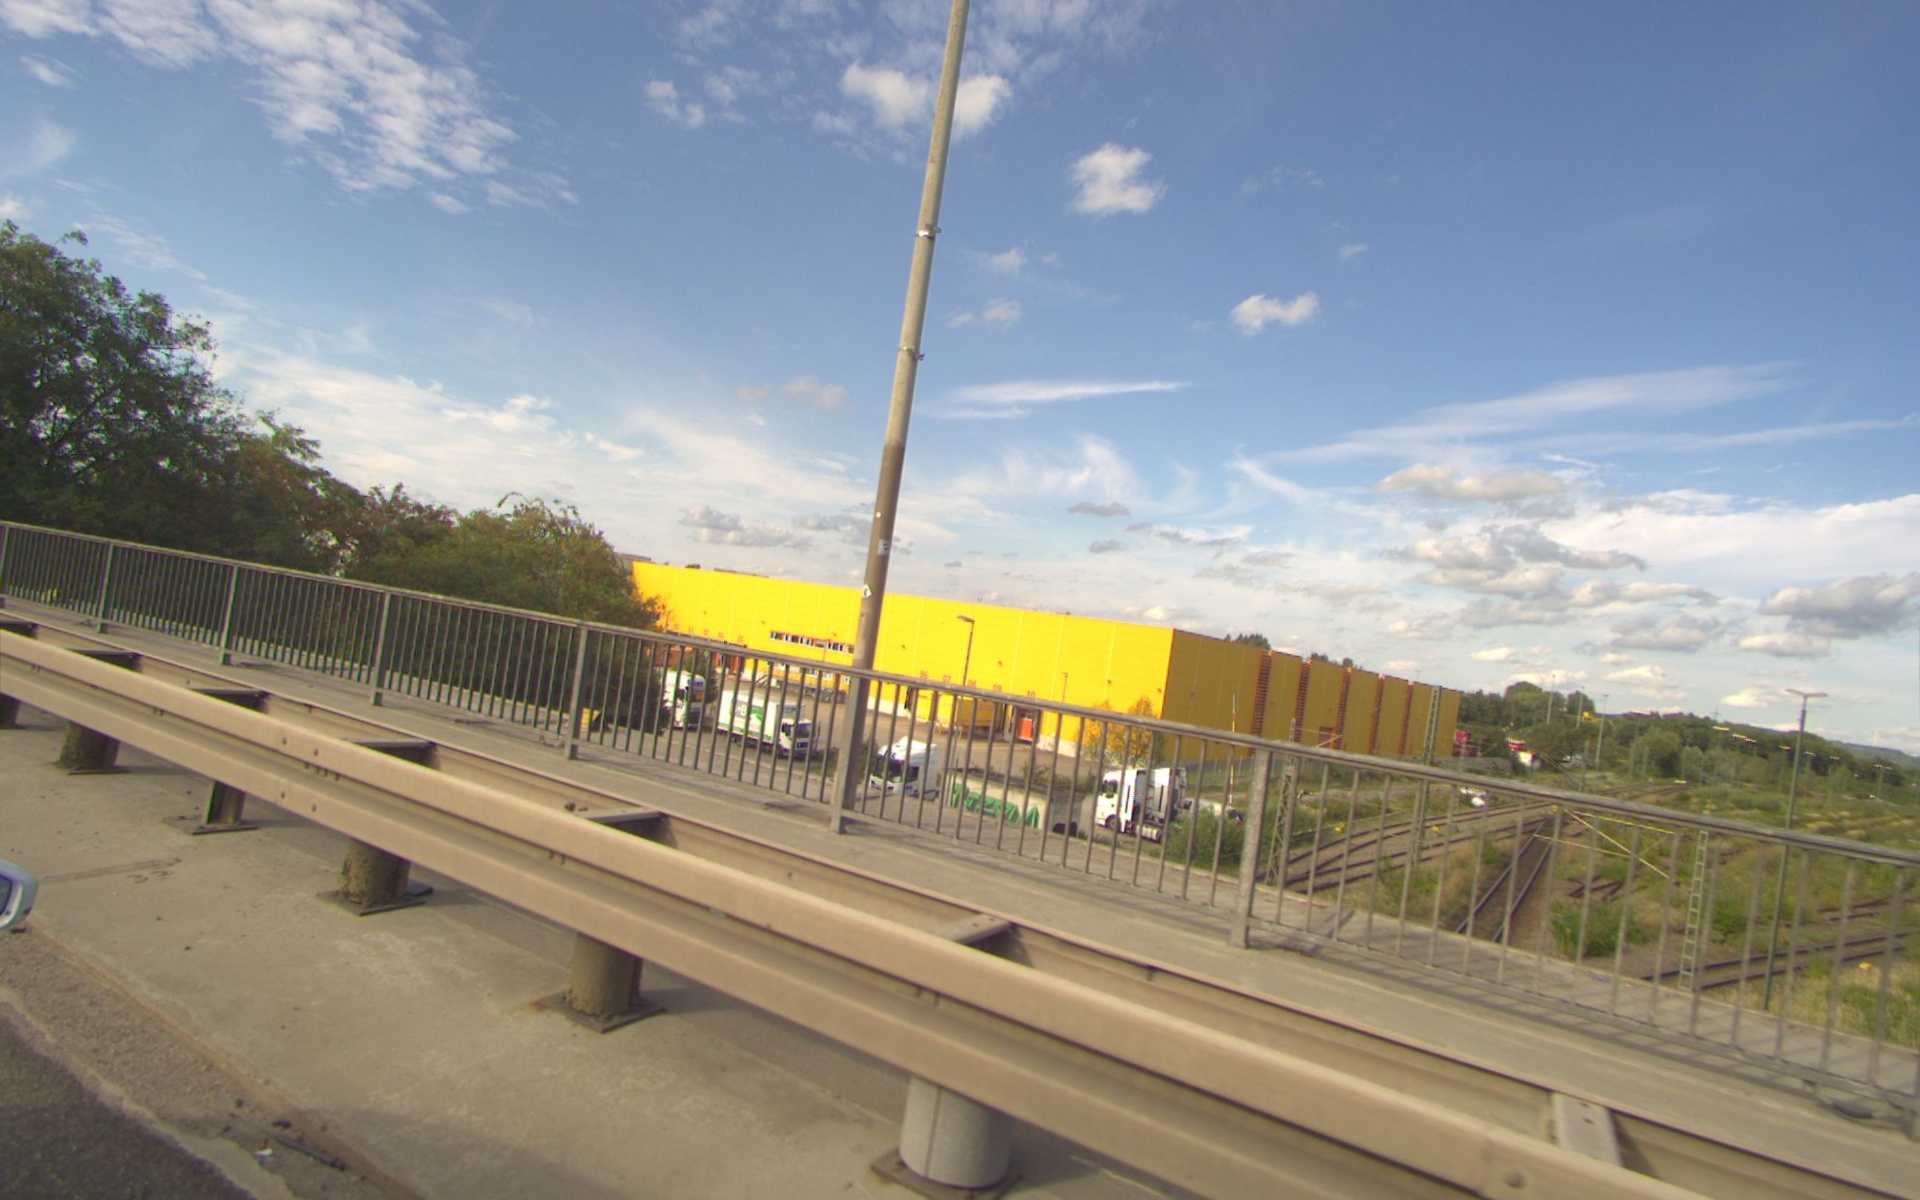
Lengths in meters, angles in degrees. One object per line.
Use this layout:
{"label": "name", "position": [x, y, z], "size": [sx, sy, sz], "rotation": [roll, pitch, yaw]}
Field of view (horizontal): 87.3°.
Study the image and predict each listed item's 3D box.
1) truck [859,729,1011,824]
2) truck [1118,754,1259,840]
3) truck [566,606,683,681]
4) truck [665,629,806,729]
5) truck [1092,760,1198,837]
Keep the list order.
{"label": "truck", "position": [-1.167, 9.273, 53.821], "size": [2.628, 4.142, 8.580], "rotation": [9, 1, 41]}
{"label": "truck", "position": [14.620, 12.549, 64.908], "size": [8.488, 3.423, 2.029], "rotation": [9, 2, 38]}
{"label": "truck", "position": [-28.376, 3.602, 84.696], "size": [11.114, 4.915, 3.625], "rotation": [7, 0, 40]}
{"label": "truck", "position": [-16.647, 5.680, 74.037], "size": [11.114, 5.729, 3.625], "rotation": [7, 0, 40]}
{"label": "truck", "position": [11.312, 11.937, 61.142], "size": [2.628, 3.663, 7.199], "rotation": [9, 1, 41]}
